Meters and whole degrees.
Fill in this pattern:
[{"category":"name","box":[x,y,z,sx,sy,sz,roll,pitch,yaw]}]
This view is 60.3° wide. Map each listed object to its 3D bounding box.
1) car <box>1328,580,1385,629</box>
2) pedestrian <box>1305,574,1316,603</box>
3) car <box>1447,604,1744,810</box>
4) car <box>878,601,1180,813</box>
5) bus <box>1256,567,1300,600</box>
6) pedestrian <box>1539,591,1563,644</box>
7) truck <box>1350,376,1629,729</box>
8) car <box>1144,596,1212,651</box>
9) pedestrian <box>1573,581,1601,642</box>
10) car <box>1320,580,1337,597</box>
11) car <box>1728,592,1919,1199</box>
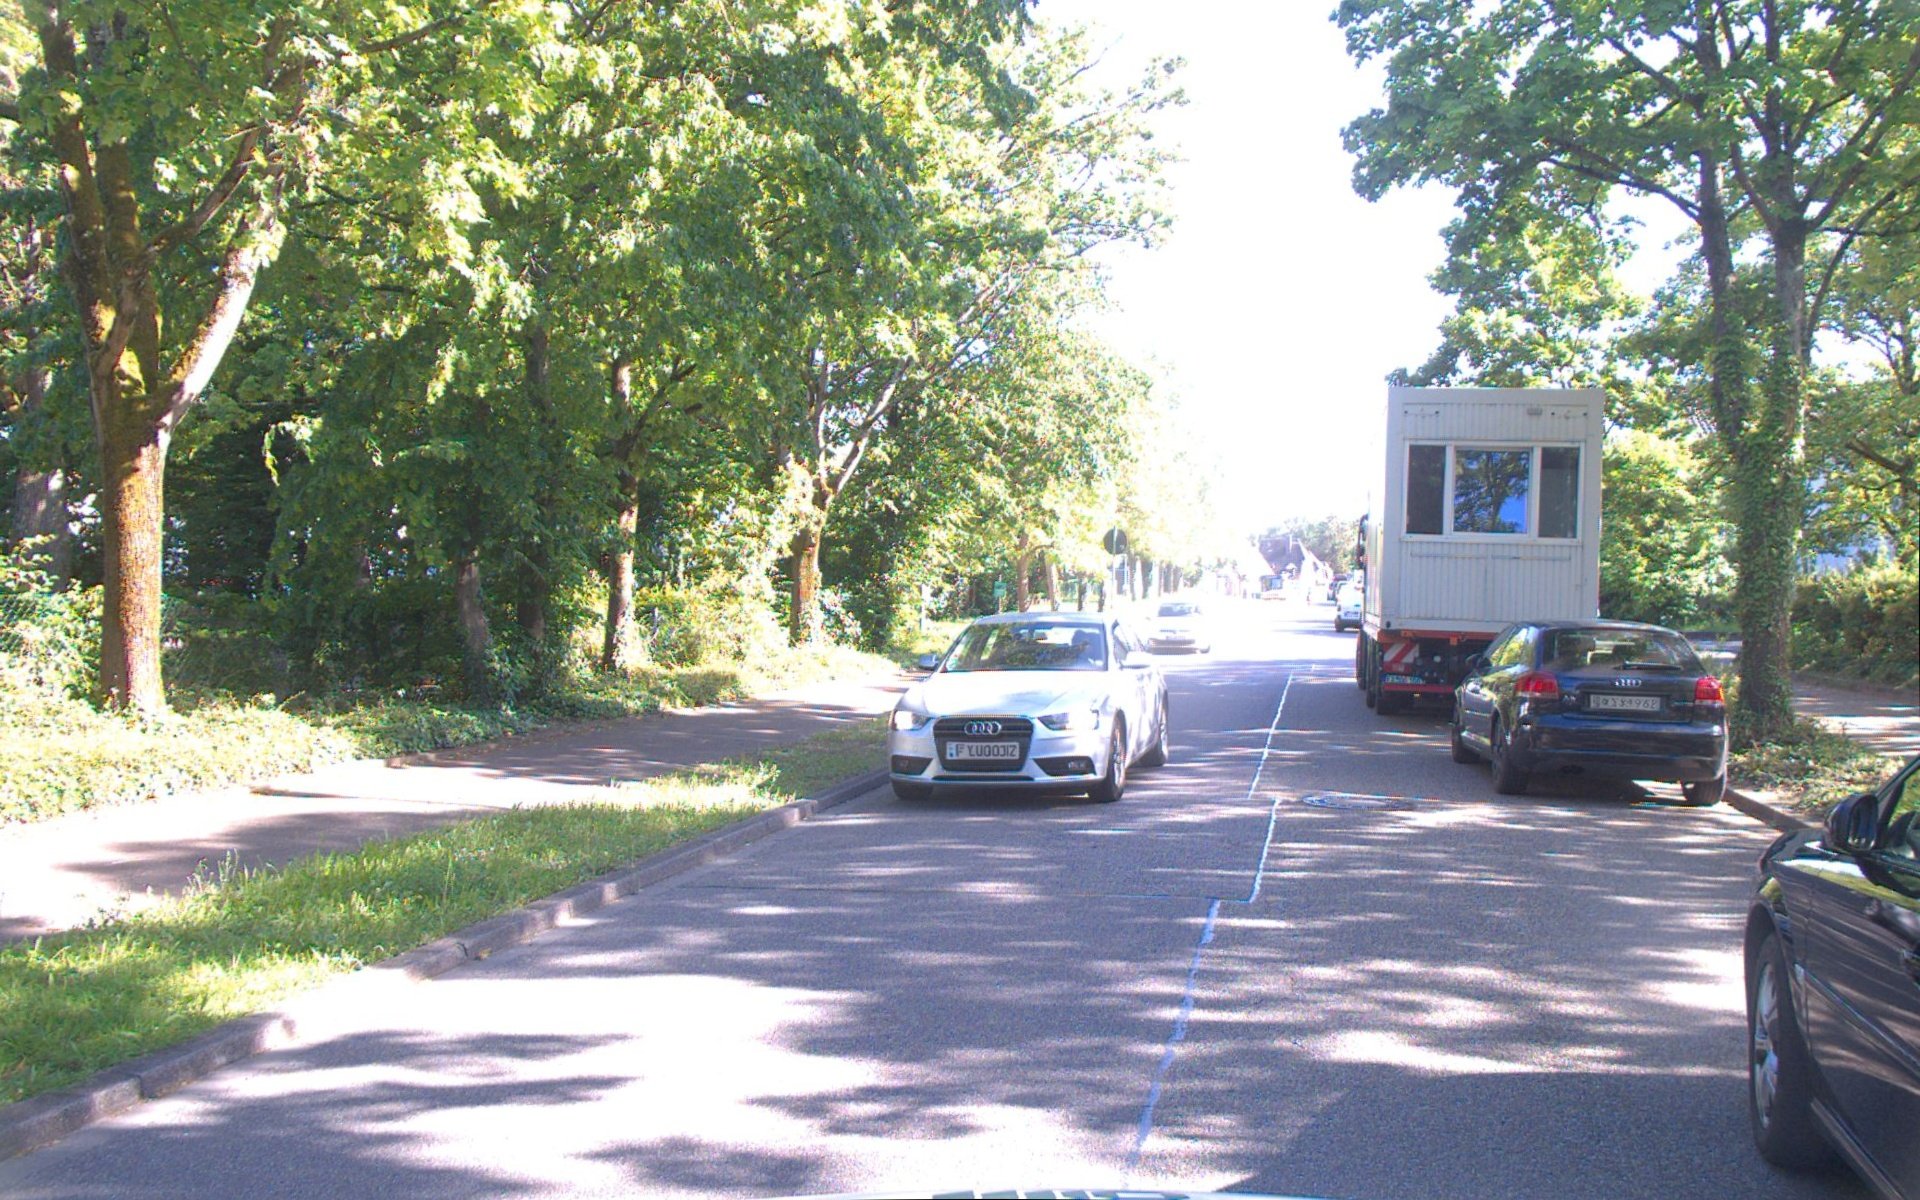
[{"category":"car","box":[15.734,0.147,65.823,1.905,1.875,4.003,1,0,9]},{"category":"pedestrian","box":[26.098,-0.866,123.129,0.736,2.150,0.799,2,0,15]},{"category":"car","box":[5.338,0.801,14.383,1.605,1.445,4.004,1,1,9]},{"category":"car","box":[0.741,0.765,13.816,1.748,1.441,4.108,-1,0,14]},{"category":"bus","box":[34.077,-1.803,176.977,3.978,3.407,9.808,-1,0,14]},{"category":"pedestrian","box":[18.318,0.541,51.247,0.585,1.639,0.601,-1,0,9]},{"category":"truck","box":[7.376,-0.628,24.451,2.714,4.065,10.357,2,1,12]},{"category":"car","box":[6.143,0.633,46.417,1.767,1.445,3.963,-1,0,8]},{"category":"pedestrian","box":[19.380,0.355,51.125,0.683,1.844,0.701,-1,0,9]},{"category":"car","box":[41.237,-1.257,184.933,1.743,1.840,4.004,0,0,11]},{"category":"car","box":[2.669,0.756,2.806,1.711,1.506,4.033,1,0,14]}]
